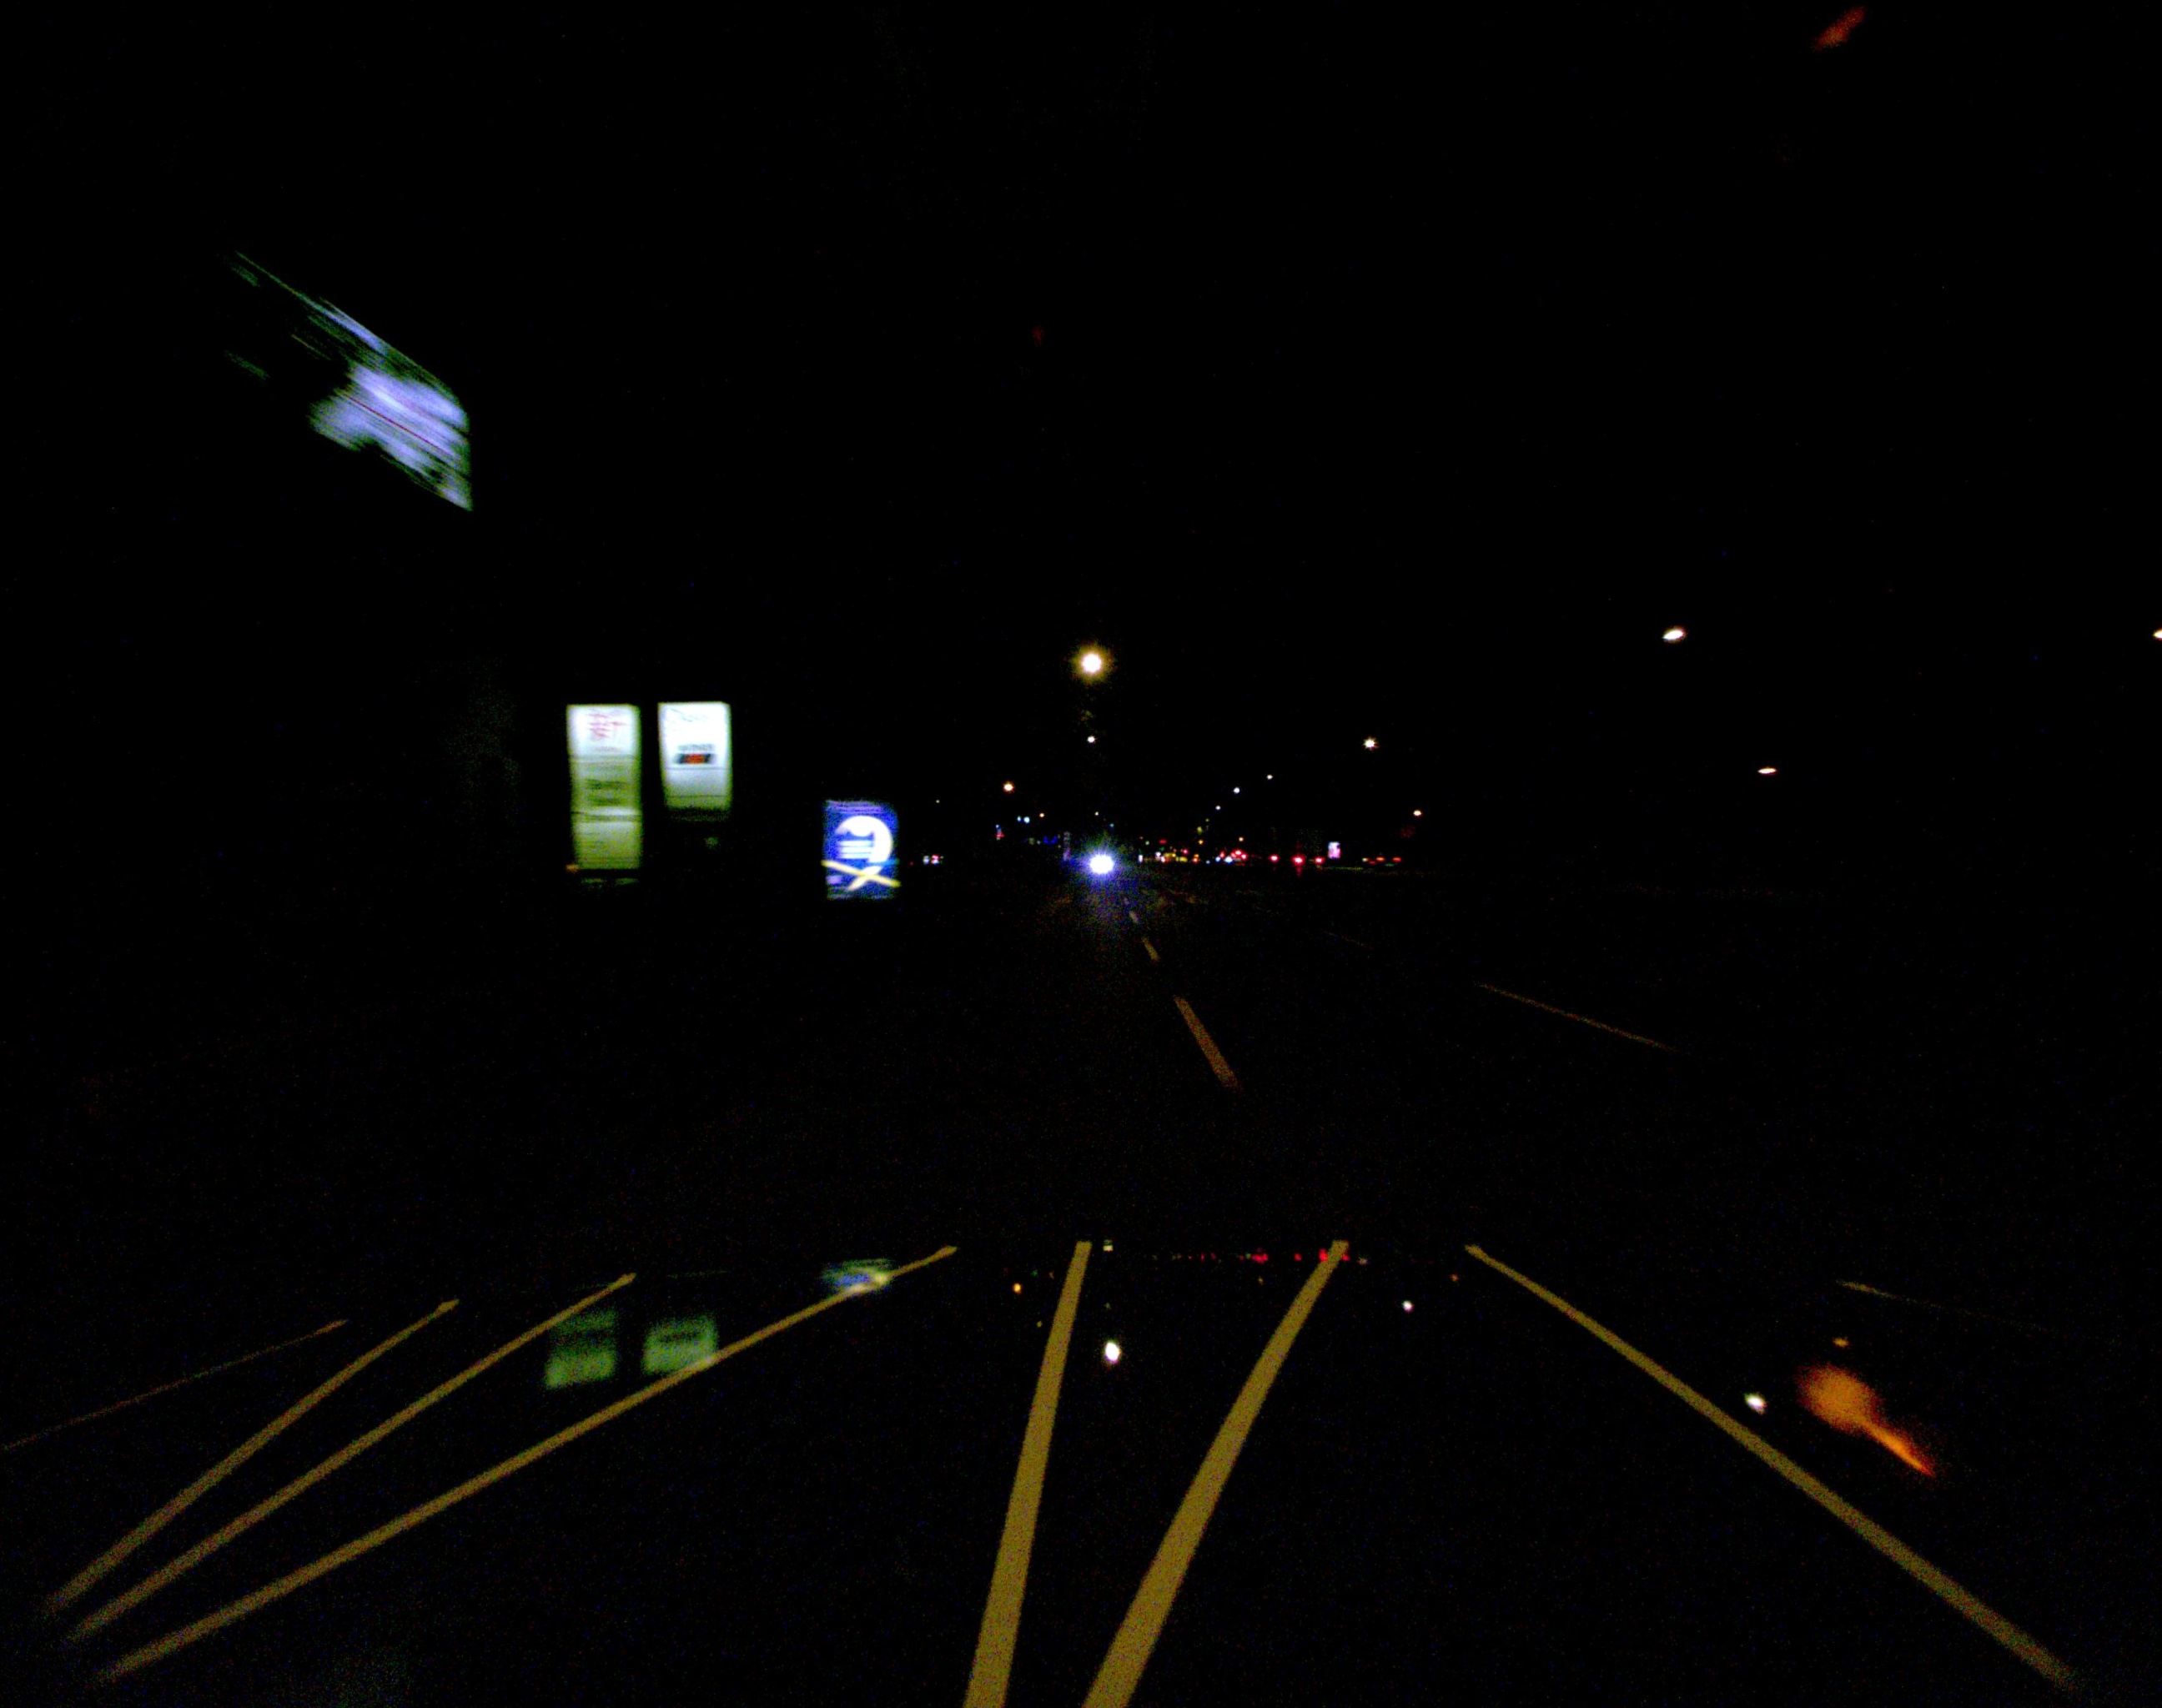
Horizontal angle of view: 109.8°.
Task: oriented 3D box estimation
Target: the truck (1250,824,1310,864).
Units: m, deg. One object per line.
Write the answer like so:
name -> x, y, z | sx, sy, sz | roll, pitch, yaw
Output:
truck -> 21.656, -1.080, 83.338 | 3.690, 3.932, 10.419 | -2, 1, 0

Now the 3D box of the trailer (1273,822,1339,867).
trailer -> 21.694, -0.923, 73.861 | 3.705, 3.967, 8.393 | -2, 1, 0

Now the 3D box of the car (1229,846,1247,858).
car -> 21.692, -0.266, 105.341 | 1.730, 1.616, 3.961 | -2, 1, 2

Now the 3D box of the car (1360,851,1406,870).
car -> 24.362, 0.520, 61.463 | 1.991, 1.472, 4.203 | 0, 0, 0

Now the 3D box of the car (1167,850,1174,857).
car -> 24.902, -0.140, 211.982 | 1.794, 1.896, 4.001 | -2, 1, 6

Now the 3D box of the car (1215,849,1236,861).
car -> 18.454, 0.132, 96.962 | 1.809, 1.490, 4.084 | -1, 1, -2
